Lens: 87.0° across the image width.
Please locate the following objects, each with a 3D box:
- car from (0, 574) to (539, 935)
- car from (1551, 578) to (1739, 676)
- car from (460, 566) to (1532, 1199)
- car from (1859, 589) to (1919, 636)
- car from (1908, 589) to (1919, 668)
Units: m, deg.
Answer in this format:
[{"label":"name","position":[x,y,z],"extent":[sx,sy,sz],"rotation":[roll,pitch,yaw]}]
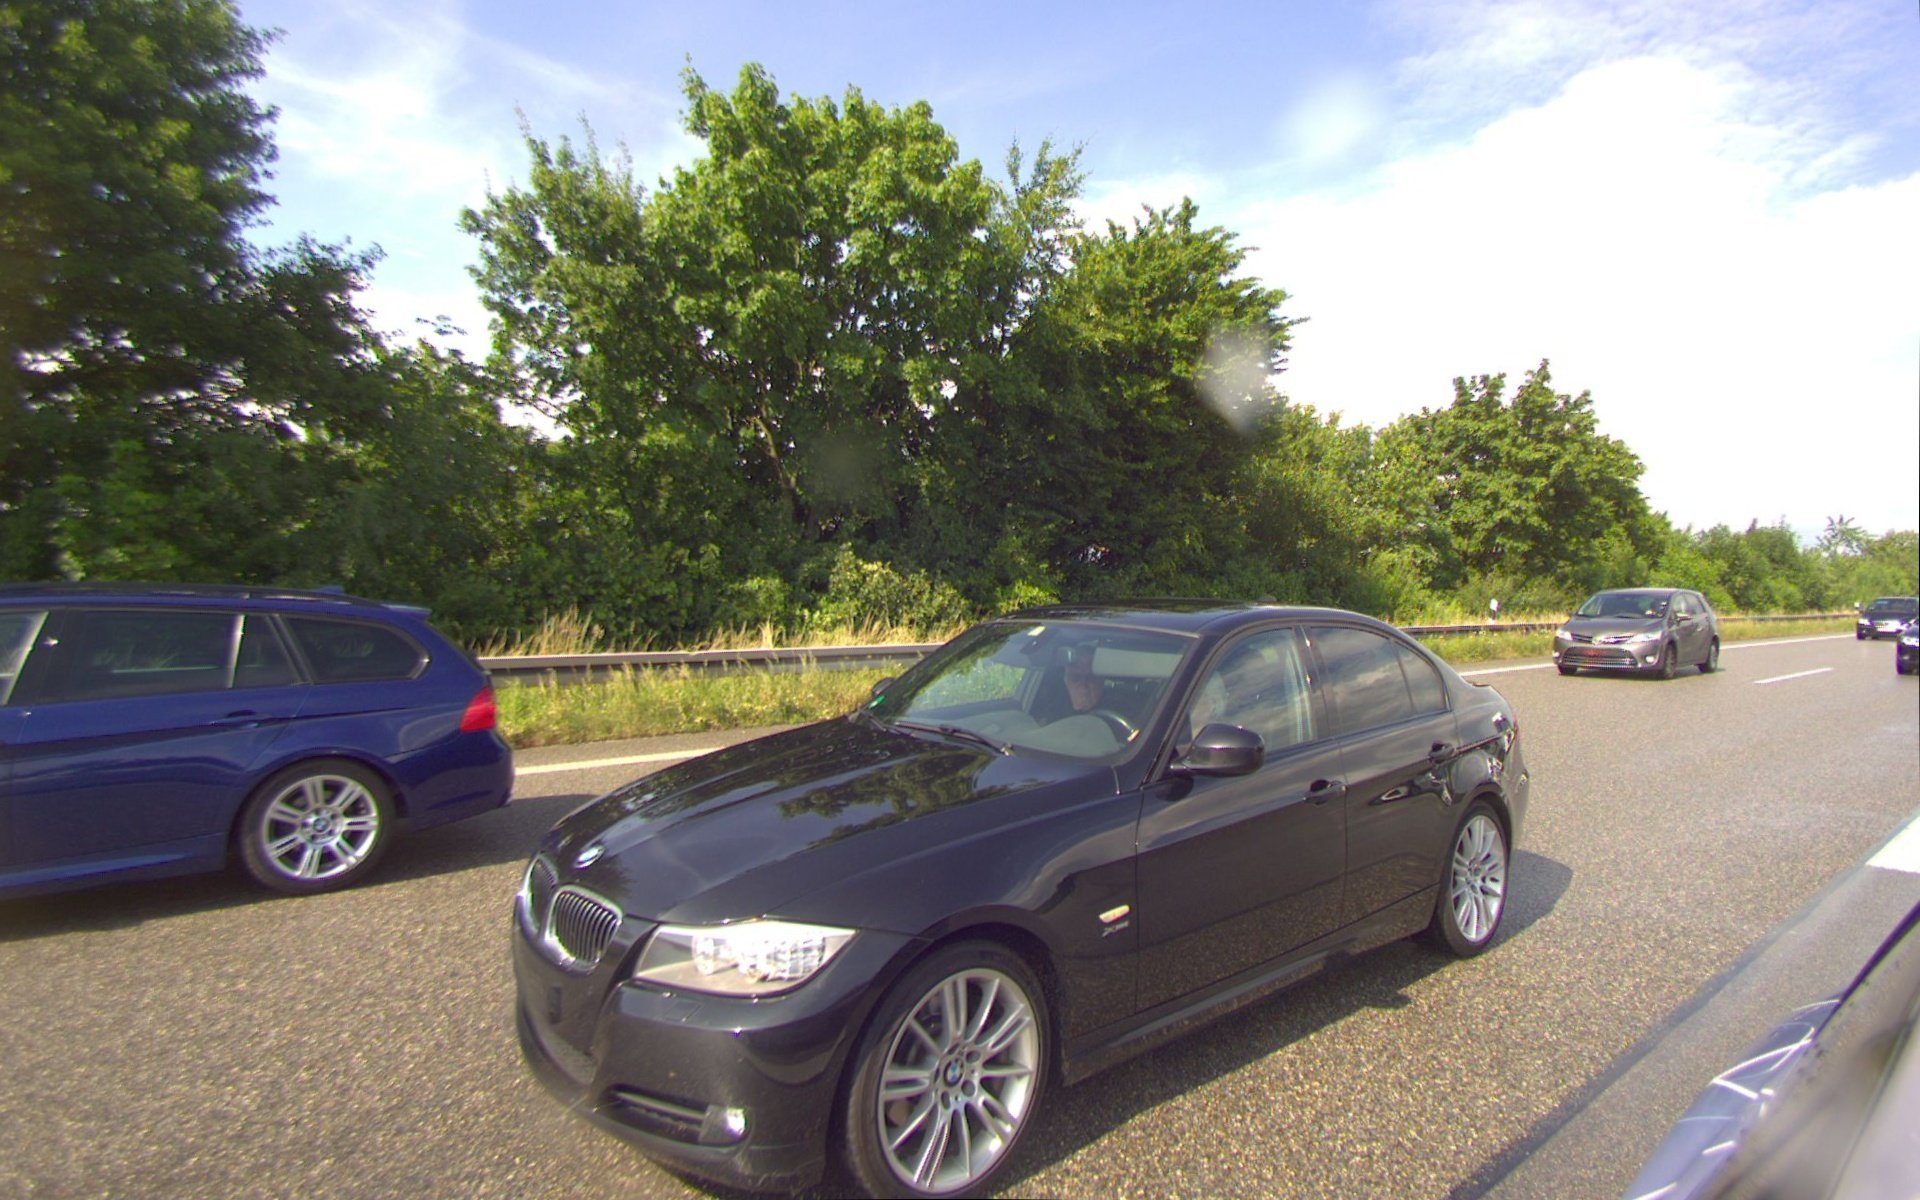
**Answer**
[{"label":"car","position":[-4.374,0.592,4.620],"extent":[4.213,1.419,1.775],"rotation":[0,1,-40]},{"label":"car","position":[12.898,0.427,18.955],"extent":[4.307,1.633,1.792],"rotation":[0,1,-40]},{"label":"car","position":[0.426,0.632,3.727],"extent":[3.768,1.438,1.743],"rotation":[0,1,-40]},{"label":"car","position":[34.263,0.427,36.755],"extent":[3.930,1.588,1.852],"rotation":[-1,2,-40]},{"label":"car","position":[20.246,0.550,19.914],"extent":[4.181,1.482,1.852],"rotation":[-1,2,-41]}]
